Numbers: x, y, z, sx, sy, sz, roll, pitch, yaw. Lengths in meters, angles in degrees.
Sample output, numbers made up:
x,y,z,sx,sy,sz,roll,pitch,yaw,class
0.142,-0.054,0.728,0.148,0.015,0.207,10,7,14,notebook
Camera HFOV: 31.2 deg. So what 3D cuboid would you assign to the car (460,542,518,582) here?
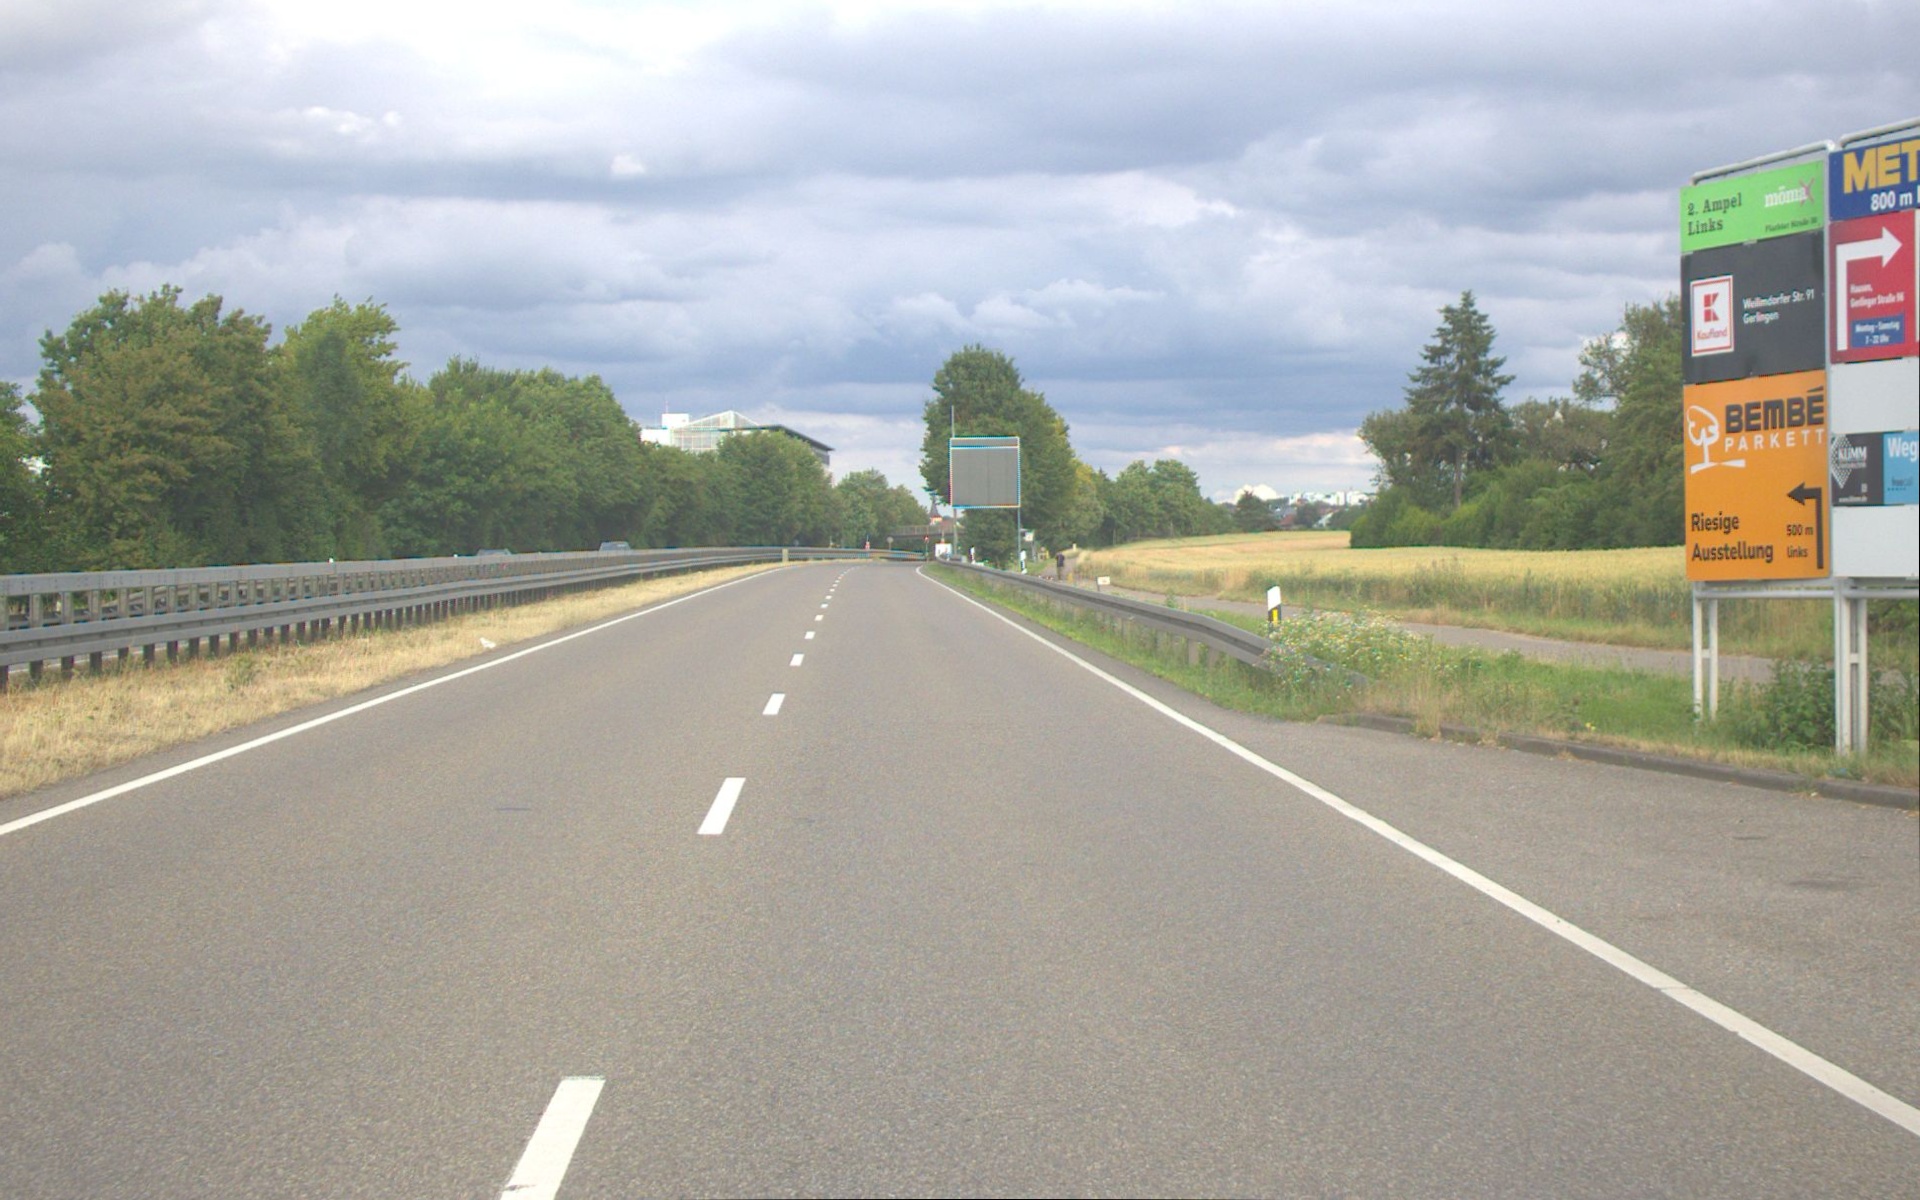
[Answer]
x,y,z,sx,sy,sz,roll,pitch,yaw,class
-19.790,-1.616,144.576,1.797,1.620,4.484,-2,1,0,car
